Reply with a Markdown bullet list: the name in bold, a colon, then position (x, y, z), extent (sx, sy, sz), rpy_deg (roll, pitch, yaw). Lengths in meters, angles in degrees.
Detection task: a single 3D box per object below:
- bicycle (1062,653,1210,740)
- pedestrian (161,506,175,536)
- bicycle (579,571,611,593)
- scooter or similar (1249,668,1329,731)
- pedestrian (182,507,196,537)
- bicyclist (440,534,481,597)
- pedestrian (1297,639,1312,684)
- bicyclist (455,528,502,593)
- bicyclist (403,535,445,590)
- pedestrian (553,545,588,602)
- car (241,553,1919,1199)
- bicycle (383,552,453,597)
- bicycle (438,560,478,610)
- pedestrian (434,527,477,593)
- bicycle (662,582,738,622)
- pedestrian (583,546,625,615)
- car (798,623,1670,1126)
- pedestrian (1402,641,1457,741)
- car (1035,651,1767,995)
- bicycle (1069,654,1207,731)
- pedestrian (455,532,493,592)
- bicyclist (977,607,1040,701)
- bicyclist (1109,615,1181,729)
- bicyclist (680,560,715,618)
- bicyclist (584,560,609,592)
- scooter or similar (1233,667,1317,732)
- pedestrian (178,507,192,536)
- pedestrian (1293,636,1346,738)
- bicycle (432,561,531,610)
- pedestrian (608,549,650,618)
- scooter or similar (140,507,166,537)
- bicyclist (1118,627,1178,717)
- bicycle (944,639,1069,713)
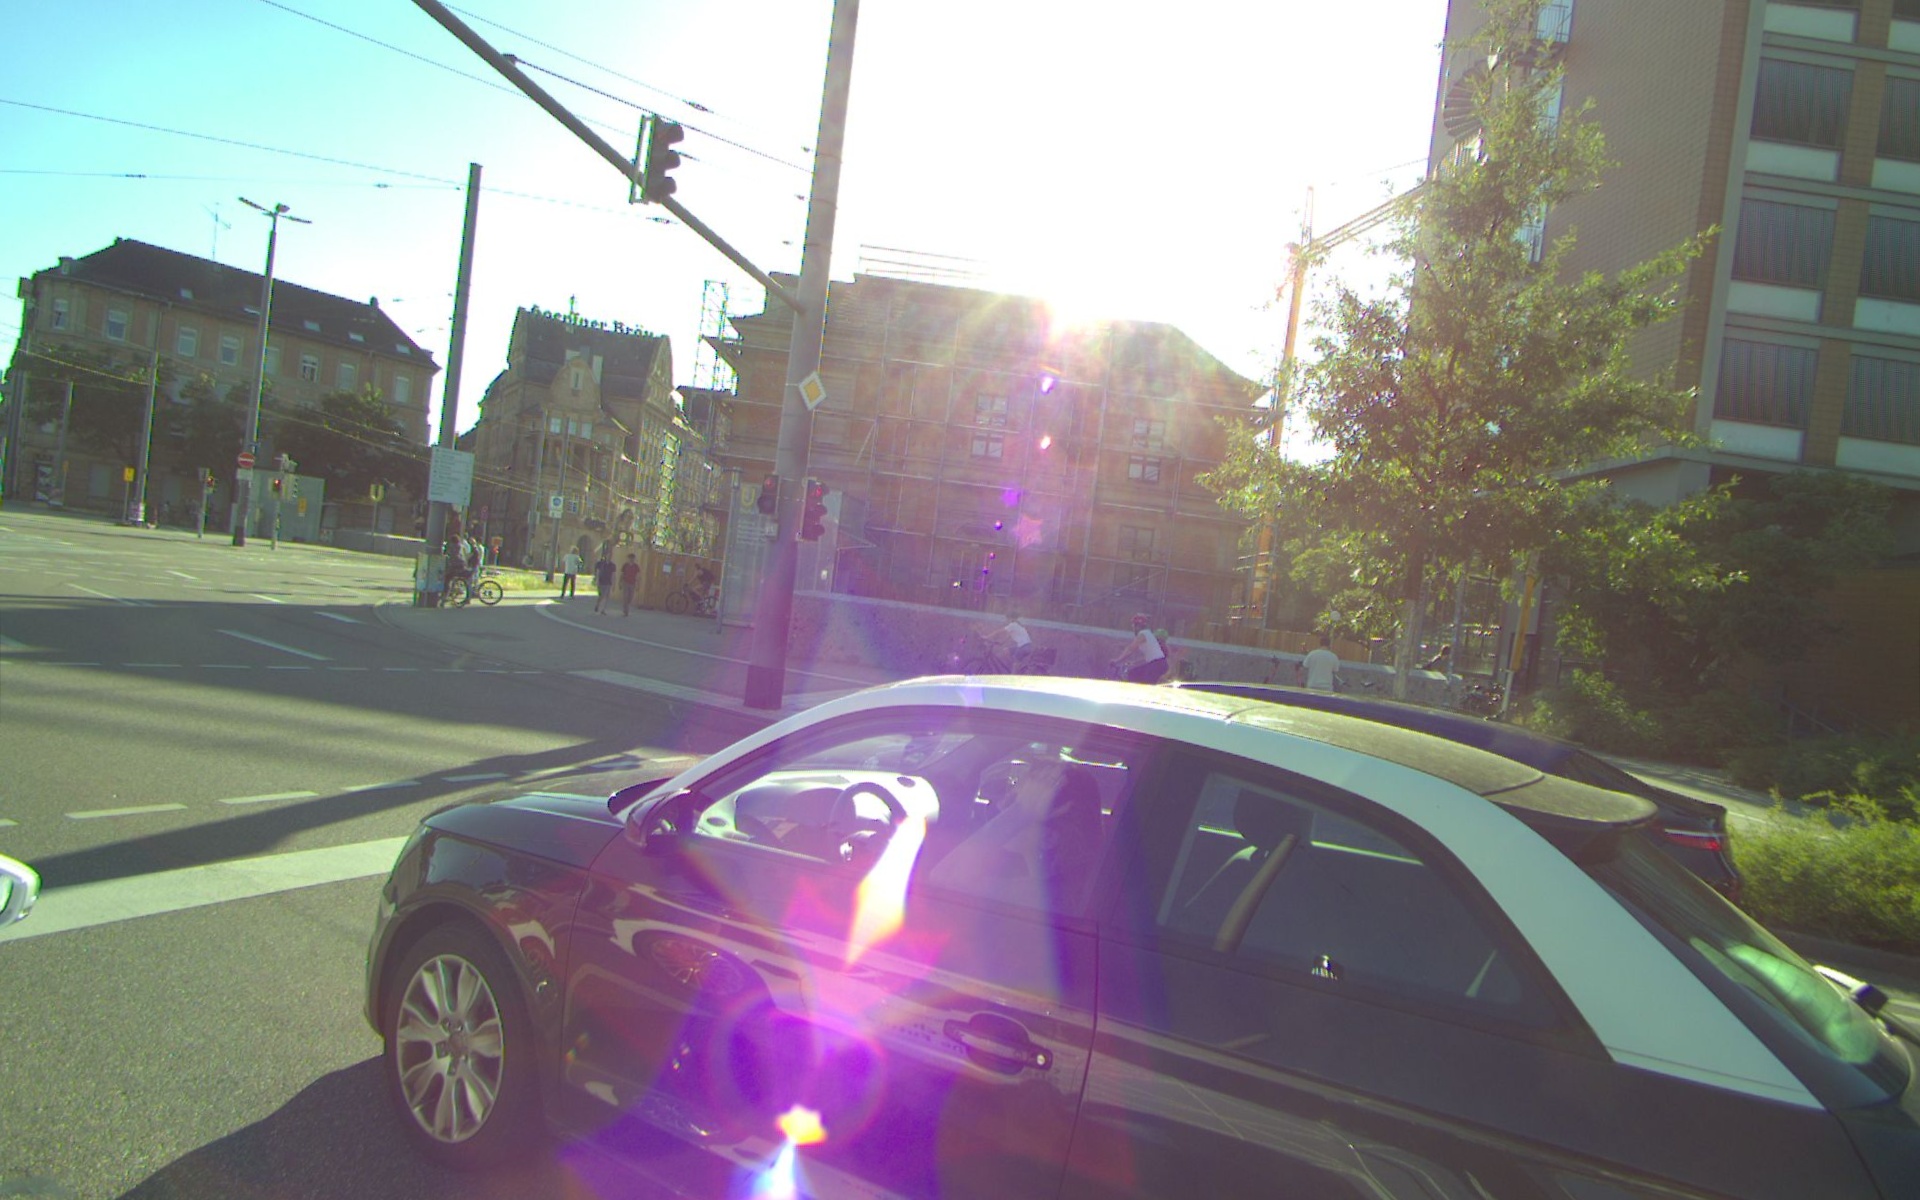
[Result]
- **bicycle**: position (2.638, 1.423, 15.126), extent (1.998, 0.976, 0.659), rpy_deg (7, 3, 24)
- **pedestrian**: position (-56.633, -5.644, 71.953), extent (0.600, 2.039, 0.638), rpy_deg (6, 1, -43)
- **bicycle**: position (-19.891, -0.966, 54.898), extent (0.892, 0.925, 2.625), rpy_deg (7, -2, -5)
- **scooter or similar**: position (6.355, 1.916, 19.473), extent (1.346, 1.007, 0.343), rpy_deg (7, -1, 13)
- **pedestrian**: position (-55.425, -5.610, 72.317), extent (0.600, 2.039, 0.638), rpy_deg (6, 1, -43)
- **bicyclist**: position (-12.433, -0.858, 25.031), extent (0.703, 1.456, 0.940), rpy_deg (8, -1, -30)
- **pedestrian**: position (13.786, 2.458, 40.276), extent (0.369, 1.752, 0.444), rpy_deg (7, -1, 17)
- **bicyclist**: position (-12.786, -1.032, 26.731), extent (0.936, 1.575, 0.705), rpy_deg (8, -1, -28)
- **bicyclist**: position (-16.621, -1.168, 31.210), extent (0.930, 1.575, 0.516), rpy_deg (7, -1, 24)
- **pedestrian**: position (-13.438, -0.916, 34.711), extent (0.678, 1.835, 0.649), rpy_deg (7, -1, 25)
- **car**: position (-0.005, 0.825, 2.696), extent (3.934, 1.420, 1.627), rpy_deg (6, -2, 32)
- **bicycle**: position (-16.869, -0.793, 31.291), extent (2.278, 1.061, 0.536), rpy_deg (8, -1, 24)
- **bicycle**: position (-12.478, -0.391, 24.973), extent (0.693, 1.062, 2.303), rpy_deg (7, 0, -29)
- **pedestrian**: position (-16.761, -1.329, 33.416), extent (0.748, 2.037, 0.733), rpy_deg (7, -1, 25)
- **bicycle**: position (-8.486, 0.057, 32.885), extent (2.278, 1.063, 0.535), rpy_deg (5, 2, -3)
- **pedestrian**: position (-9.815, -0.524, 27.779), extent (0.672, 1.830, 0.672), rpy_deg (7, 2, 11)
- **car**: position (1.239, 1.096, 5.374), extent (3.934, 1.420, 1.627), rpy_deg (6, -2, 32)
- **pedestrian**: position (9.493, 1.831, 20.337), extent (0.461, 1.908, 0.687), rpy_deg (8, -1, -41)
- **car**: position (2.995, 1.397, 7.547), extent (4.435, 1.420, 1.727), rpy_deg (6, -2, 31)
- **bicycle**: position (2.825, 1.469, 16.095), extent (1.997, 0.976, 0.660), rpy_deg (6, 2, -1)
- **pedestrian**: position (-16.489, -1.285, 34.136), extent (0.678, 1.945, 0.649), rpy_deg (7, -1, 25)
- **bicyclist**: position (0.820, 0.916, 16.961), extent (0.663, 1.471, 0.616), rpy_deg (6, -1, 37)
- **bicyclist**: position (2.777, 1.062, 15.052), extent (0.780, 1.573, 0.667), rpy_deg (7, 2, 22)
- **bicyclist**: position (-8.578, -0.351, 32.898), extent (0.781, 1.800, 0.523), rpy_deg (7, -1, -4)
- **bicyclist**: position (-19.839, -1.292, 54.875), extent (0.835, 1.565, 1.042), rpy_deg (7, -1, -4)
- **scooter or similar**: position (5.833, 1.832, 18.652), extent (1.348, 1.007, 0.342), rpy_deg (7, -1, 25)
- **pedestrian**: position (-56.357, -5.702, 73.132), extent (0.600, 2.039, 0.638), rpy_deg (6, 1, -43)
- **pedestrian**: position (6.199, 1.474, 17.319), extent (0.592, 1.662, 0.677), rpy_deg (7, 3, 29)
- **bicycle**: position (-12.736, -0.371, 26.806), extent (2.293, 1.062, 0.696), rpy_deg (6, -1, -28)
- **pedestrian**: position (-9.345, -0.462, 28.428), extent (0.672, 1.828, 0.672), rpy_deg (7, -1, 11)
- **scooter or similar**: position (-42.136, -4.071, 52.494), extent (0.784, 1.392, 1.885), rpy_deg (8, -2, -44)
- **bicyclist**: position (3.006, 1.140, 16.112), extent (0.661, 1.330, 0.617), rpy_deg (7, -1, -3)
- **bicycle**: position (0.761, 1.250, 17.001), extent (2.004, 0.976, 0.657), rpy_deg (6, 2, 36)
